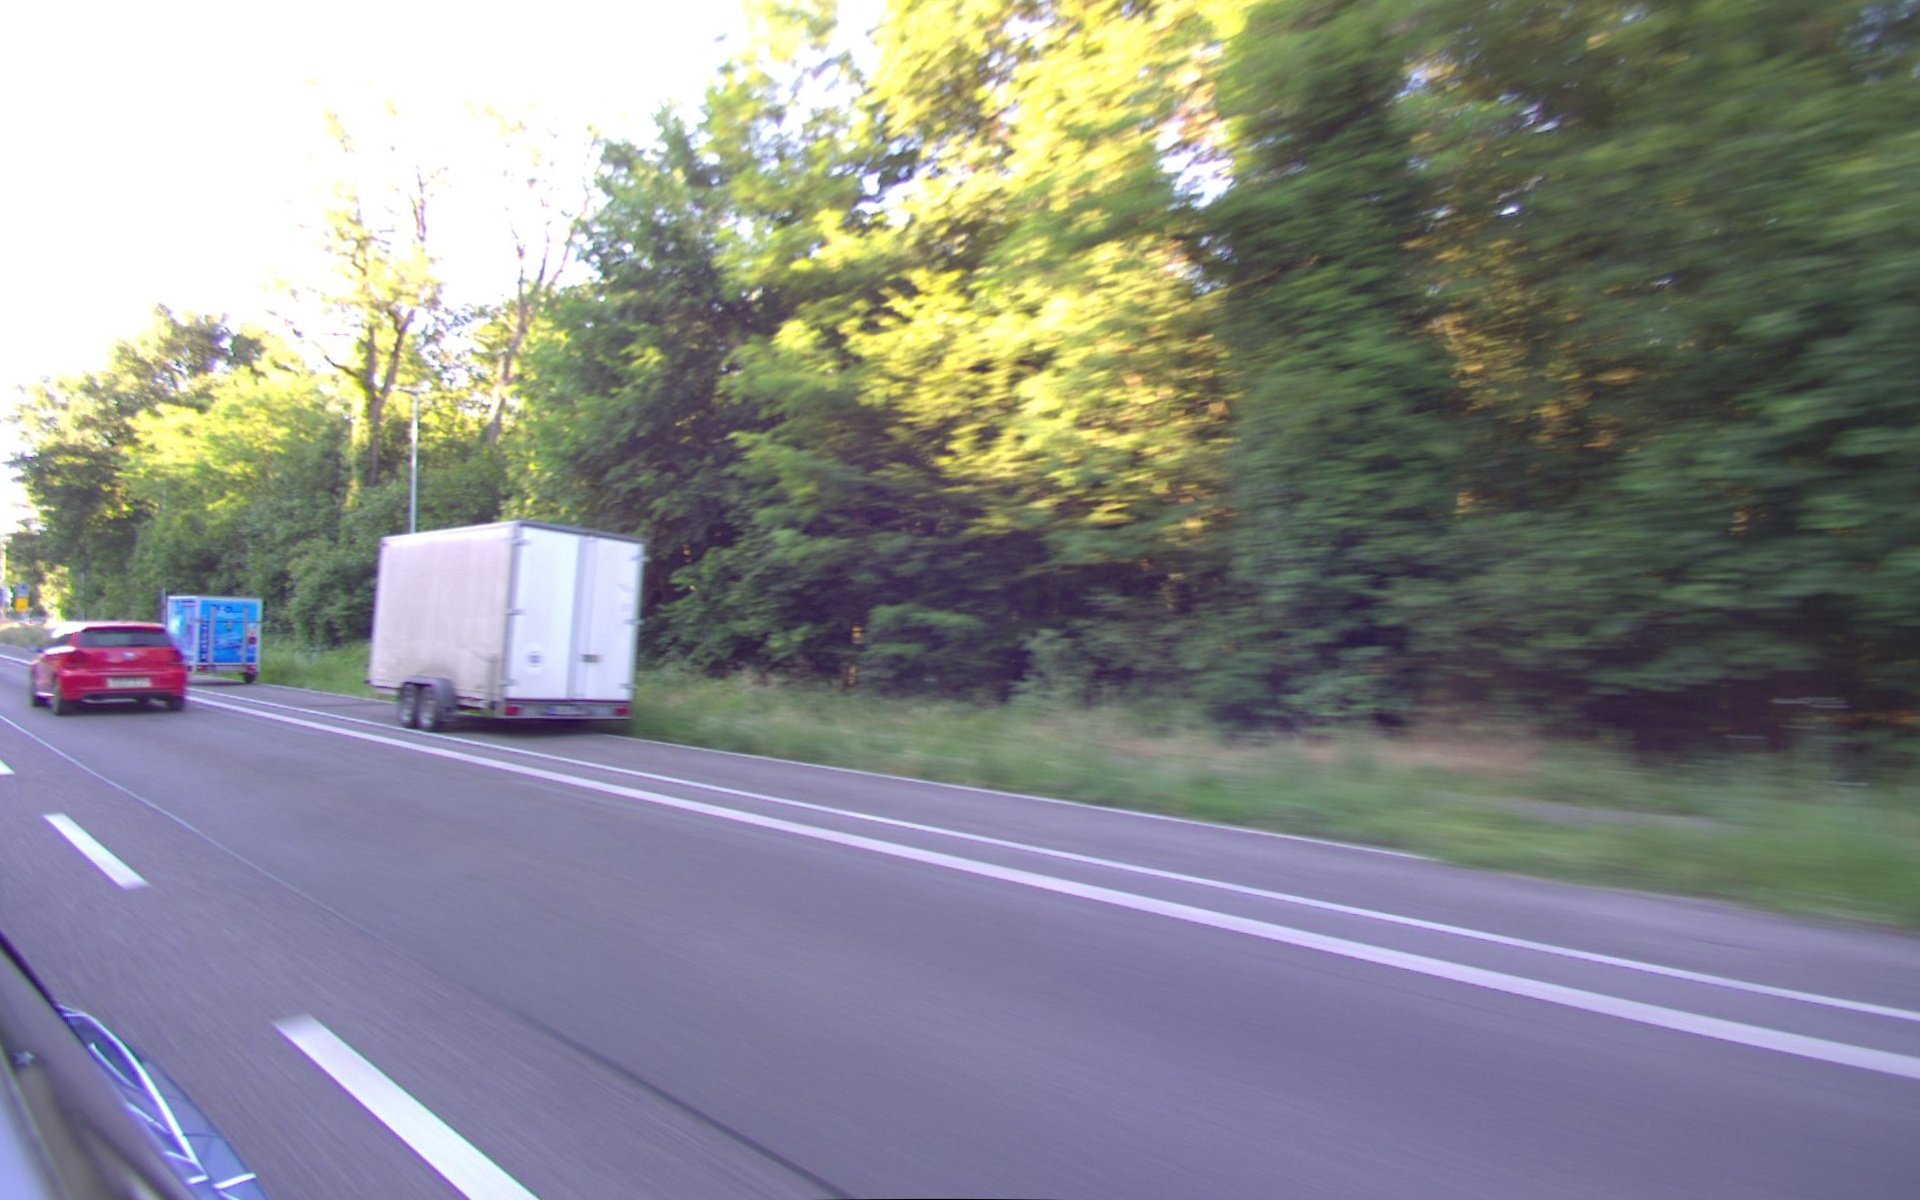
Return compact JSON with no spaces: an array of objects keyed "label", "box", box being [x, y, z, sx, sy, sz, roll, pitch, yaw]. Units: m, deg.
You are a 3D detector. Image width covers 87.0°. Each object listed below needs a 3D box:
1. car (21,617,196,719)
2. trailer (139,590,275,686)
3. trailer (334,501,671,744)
[{"label":"car","box":[-14.212,1.046,16.821,4.036,1.497,1.664,-1,-2,42]},{"label":"trailer","box":[-18.743,0.923,25.150,4.140,2.184,1.798,-1,-2,40]},{"label":"trailer","box":[-6.917,0.364,14.982,5.623,2.946,2.302,-1,-4,41]}]
